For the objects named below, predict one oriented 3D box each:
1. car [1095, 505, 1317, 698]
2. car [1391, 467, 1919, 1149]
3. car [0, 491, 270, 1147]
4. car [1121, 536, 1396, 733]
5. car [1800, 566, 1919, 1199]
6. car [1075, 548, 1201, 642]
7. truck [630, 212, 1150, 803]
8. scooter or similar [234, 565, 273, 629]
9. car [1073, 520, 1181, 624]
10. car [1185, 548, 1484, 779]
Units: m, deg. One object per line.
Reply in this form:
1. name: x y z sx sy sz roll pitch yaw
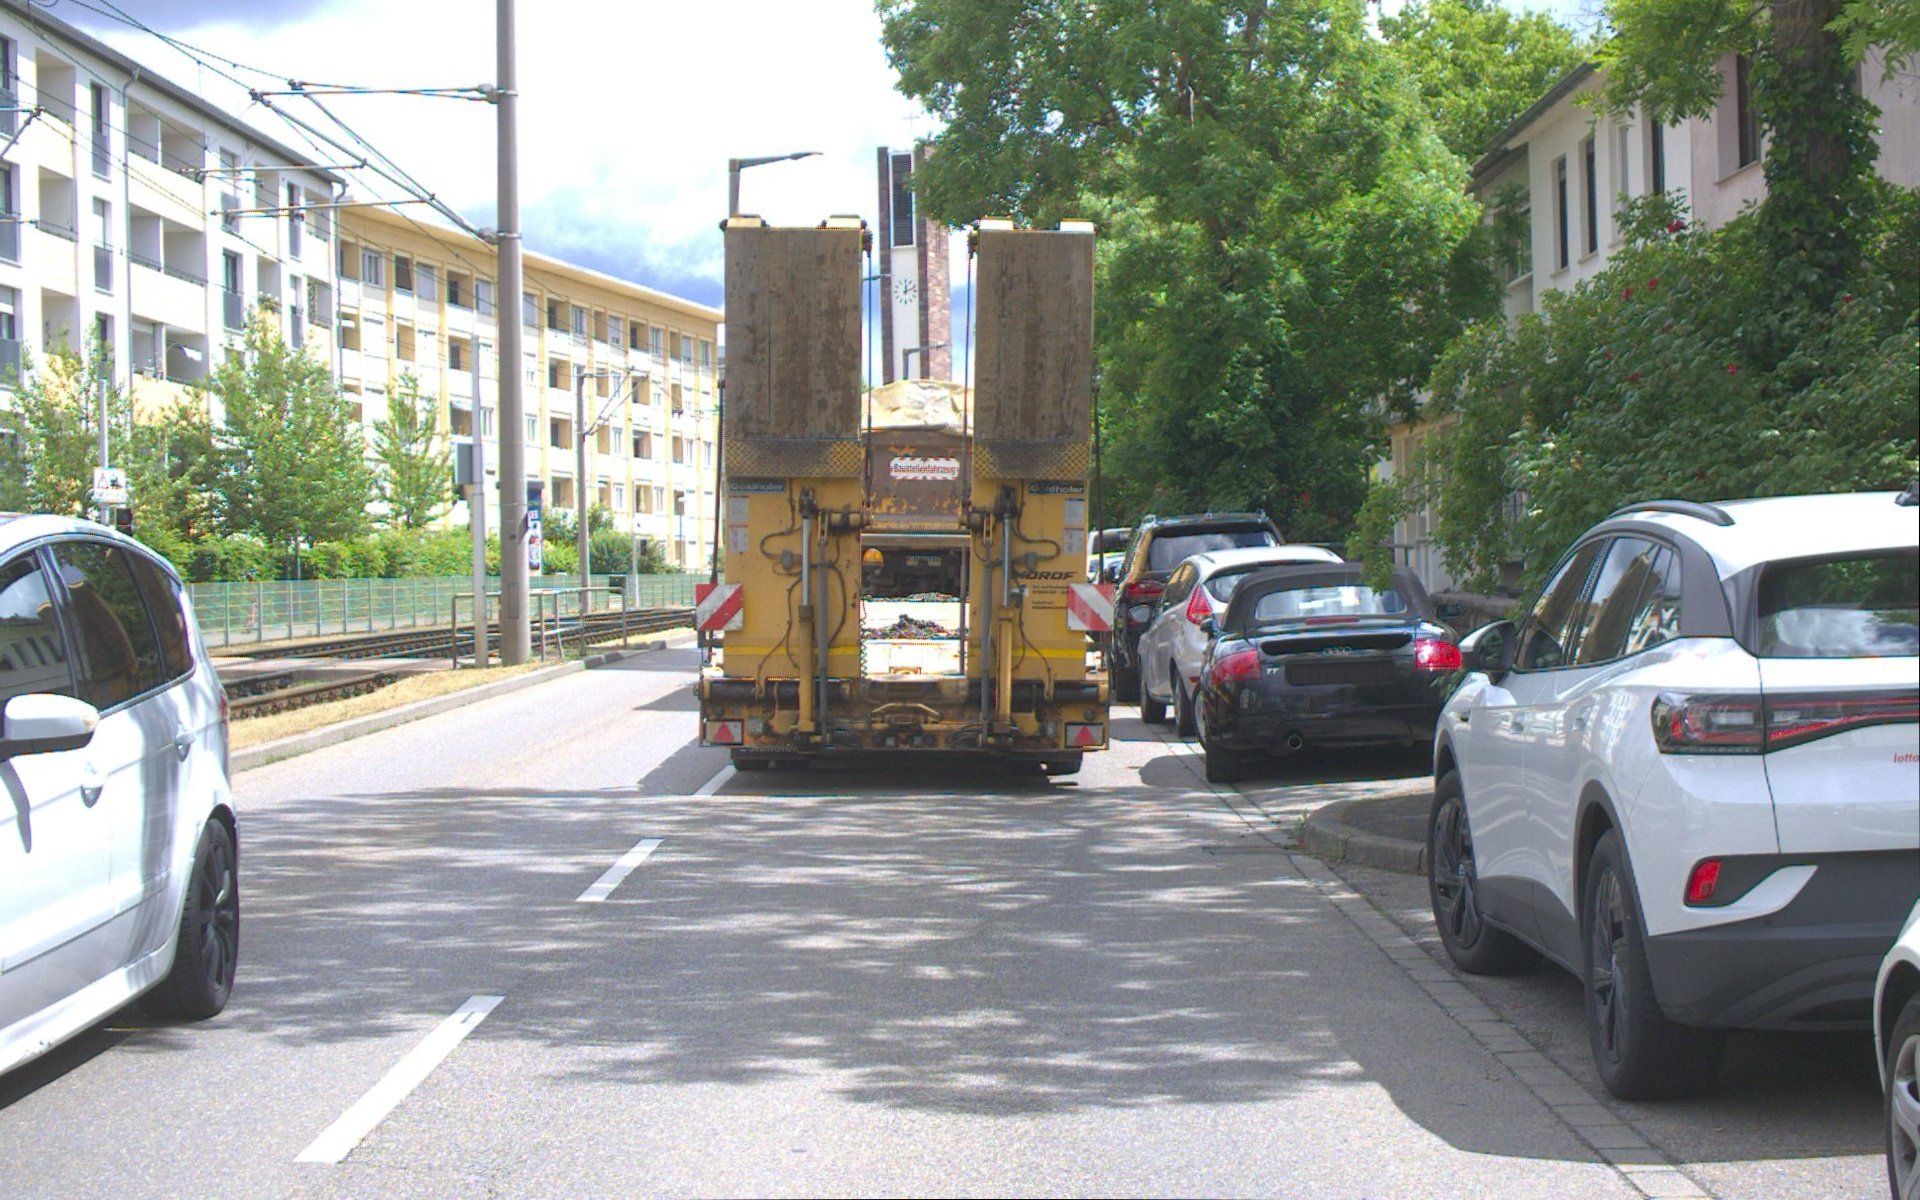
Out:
1. car: 2.442 -0.015 35.235 2.015 1.782 5.076 -1 1 2
2. car: 2.538 0.467 10.500 1.837 1.638 4.430 0 1 -1
3. car: -3.257 0.516 9.395 1.817 1.608 4.602 1 1 0
4. car: 2.410 0.251 28.624 1.771 1.437 3.900 -3 1 -2
5. car: 2.650 0.663 5.136 1.725 1.421 4.446 -1 1 0
6. car: 2.859 -0.107 56.086 1.755 1.437 4.494 -1 1 0
7. truck: -0.465 -0.646 27.012 3.124 3.552 12.460 0 1 0
8. scooter or similar: -14.591 -0.069 71.006 0.490 1.288 1.302 0 1 2
9. car: 3.320 -0.576 69.269 1.914 1.952 5.745 -1 1 1
10. car: 2.451 0.367 23.274 1.771 1.345 4.000 -3 1 4
